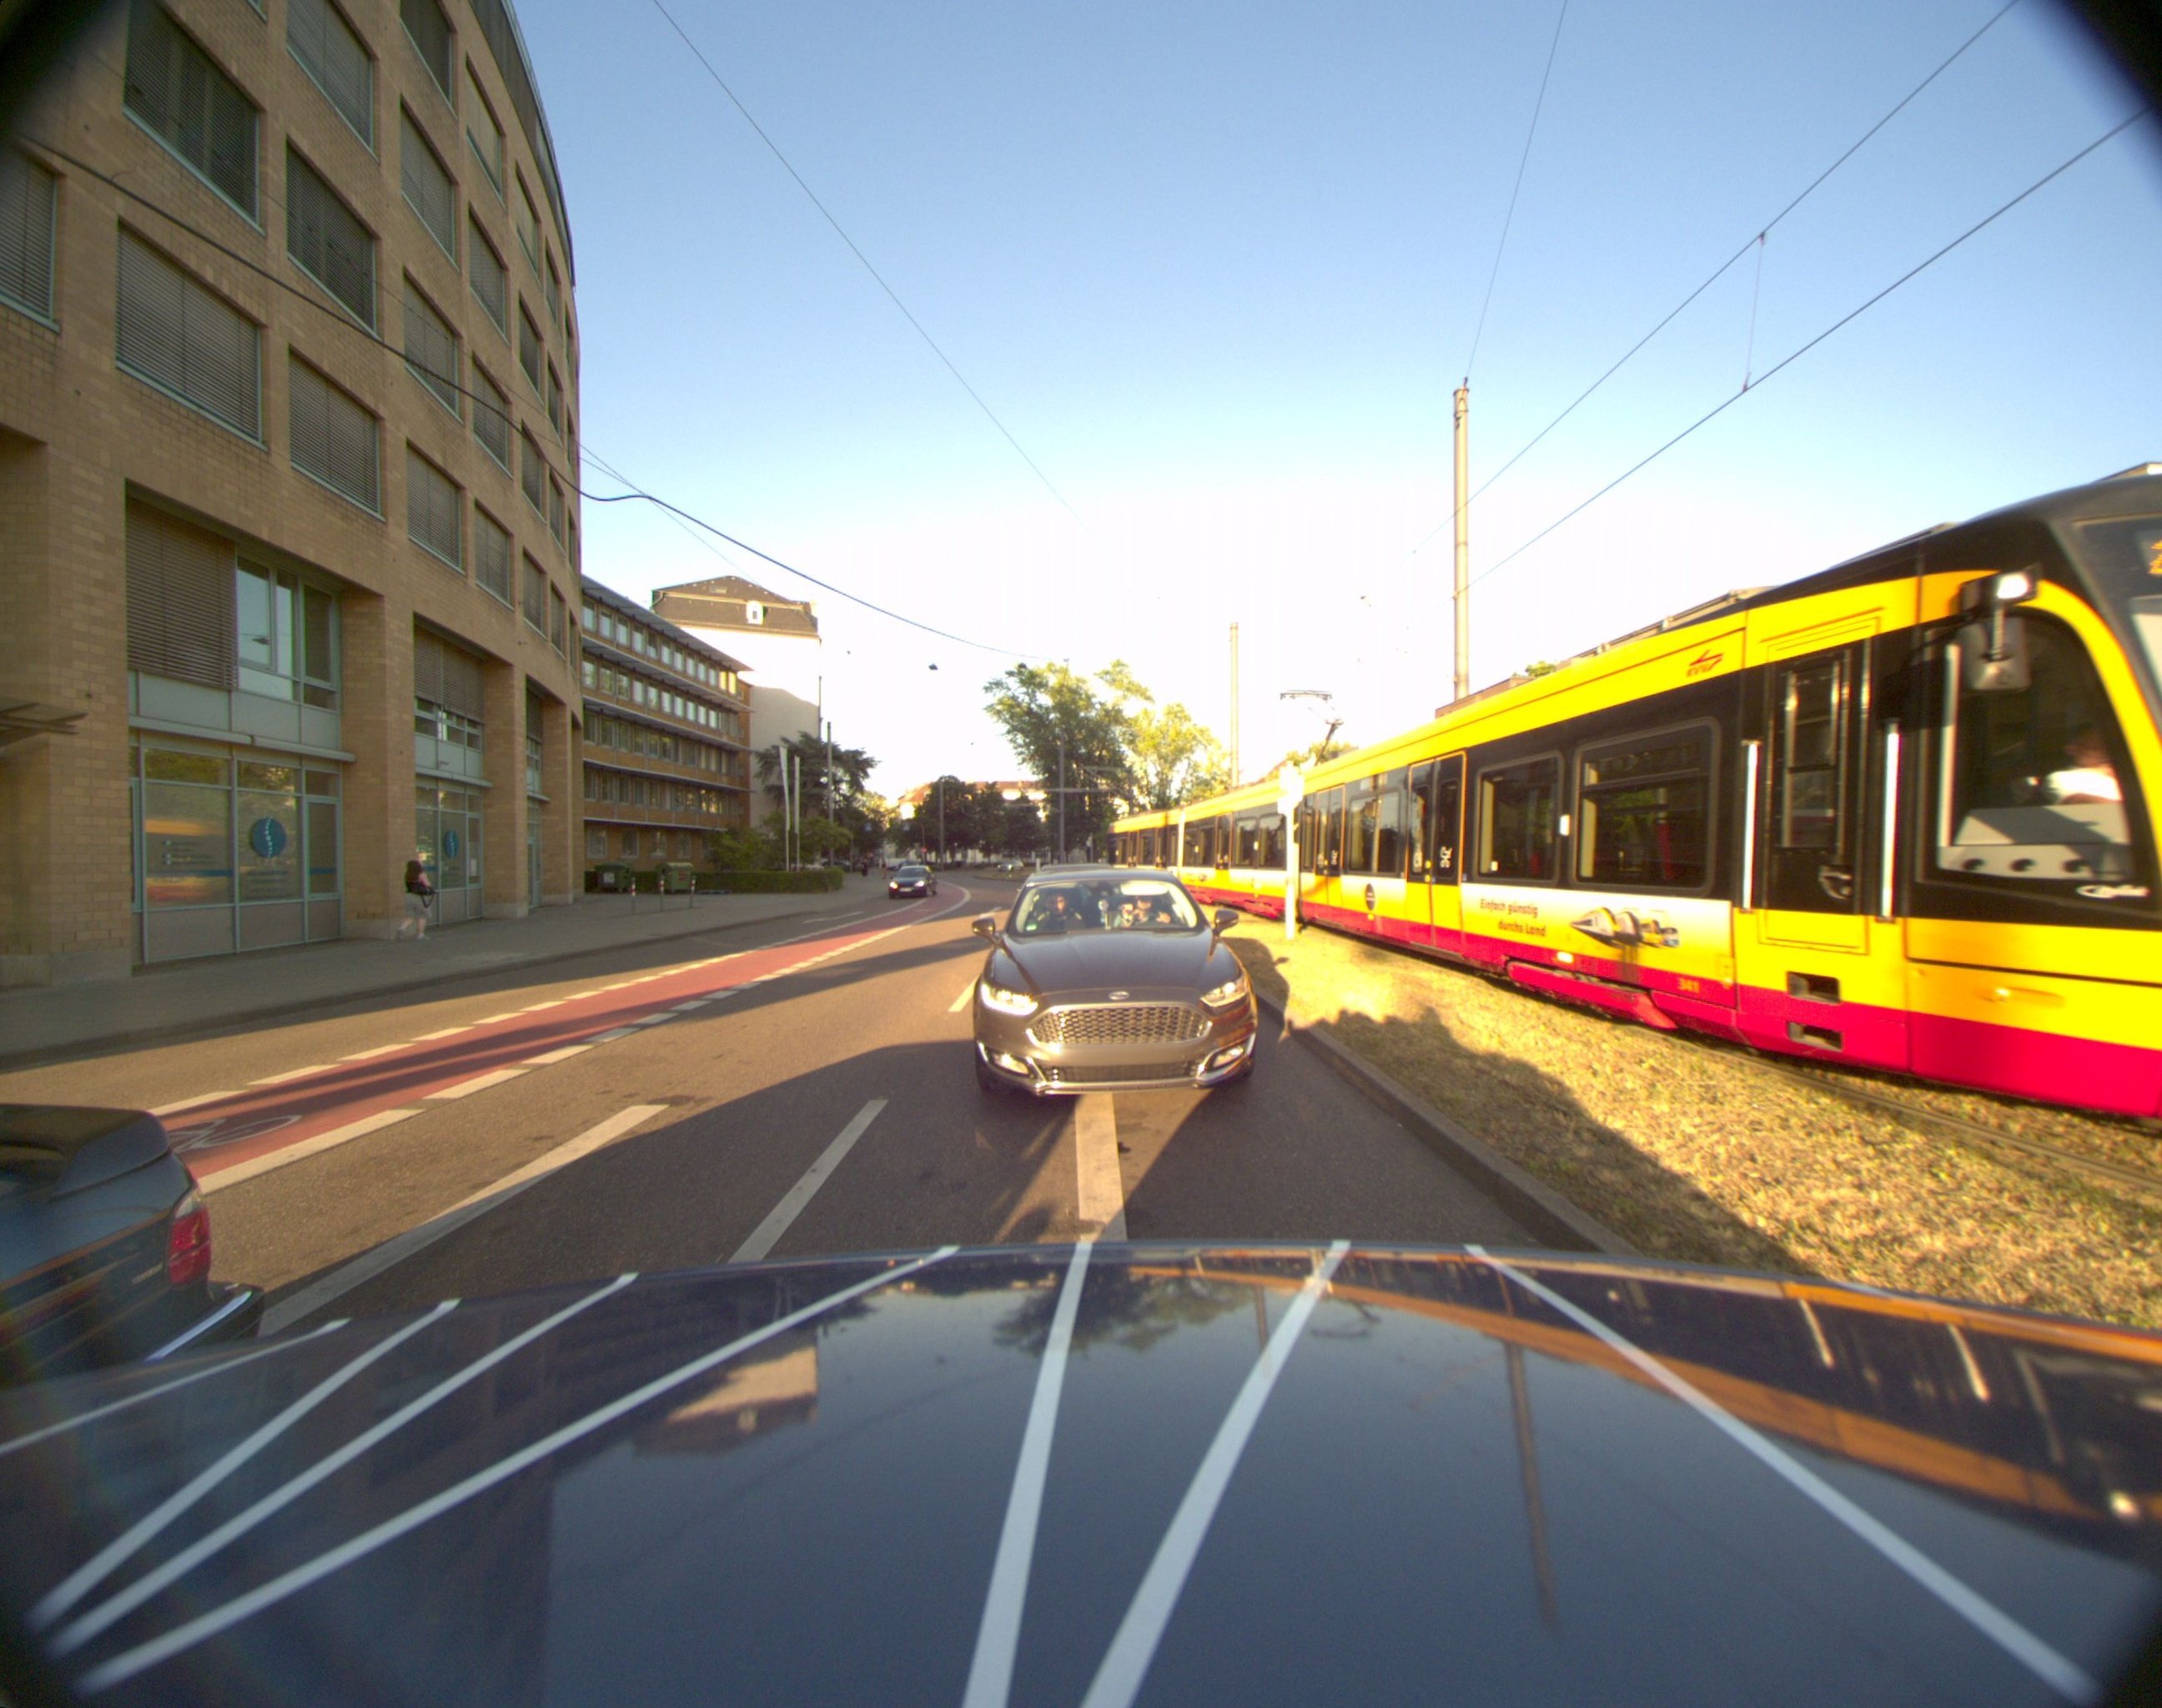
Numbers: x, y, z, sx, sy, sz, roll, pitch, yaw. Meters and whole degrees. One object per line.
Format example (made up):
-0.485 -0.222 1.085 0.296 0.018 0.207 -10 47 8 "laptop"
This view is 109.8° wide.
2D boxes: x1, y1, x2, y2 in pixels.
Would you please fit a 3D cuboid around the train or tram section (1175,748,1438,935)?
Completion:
5.309 -0.277 21.337 2.886 3.717 12.178 -1 0 -5 "train or tram section"

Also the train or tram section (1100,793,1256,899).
3.603 -0.291 32.773 2.916 3.717 12.178 -1 0 -11 "train or tram section"

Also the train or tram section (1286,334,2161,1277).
5.709 -0.215 9.081 2.916 3.717 13.217 -1 0 0 "train or tram section"

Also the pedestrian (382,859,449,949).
-12.733 0.931 14.554 0.628 1.672 0.713 -1 1 -3 "pedestrian"

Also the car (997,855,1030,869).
-8.664 0.976 97.262 1.994 1.739 4.008 0 0 38 "car"

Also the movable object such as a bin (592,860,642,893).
-21.192 1.033 34.730 1.427 1.450 1.332 -1 0 -2 "movable object such as a bin"

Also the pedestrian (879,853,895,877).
-14.974 0.848 58.669 0.913 1.883 1.124 -1 1 -27 "pedestrian"

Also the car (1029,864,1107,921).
-0.493 1.081 22.948 1.999 1.453 4.141 -1 0 -6 "car"

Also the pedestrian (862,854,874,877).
-16.636 0.872 59.292 0.728 1.797 0.724 -1 1 1 "pedestrian"

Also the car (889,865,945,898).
-7.652 1.259 35.833 1.759 1.379 3.999 -2 0 -1 "car"

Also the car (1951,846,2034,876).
58.823 0.430 49.128 1.995 1.868 4.007 0 0 27 "car"

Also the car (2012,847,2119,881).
56.309 0.553 43.575 1.995 1.868 4.006 -1 0 22 "car"

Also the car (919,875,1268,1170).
0.110 0.987 6.508 1.890 1.477 4.725 0 0 1 "car"

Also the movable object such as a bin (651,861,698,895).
-18.278 1.061 34.222 1.427 1.450 1.332 -1 0 -3 "movable object such as a bin"

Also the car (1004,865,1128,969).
-0.188 1.007 14.095 1.897 1.526 4.705 -1 0 1 "car"

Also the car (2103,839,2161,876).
54.763 0.157 38.426 1.921 1.853 4.006 0 0 23 "car"
